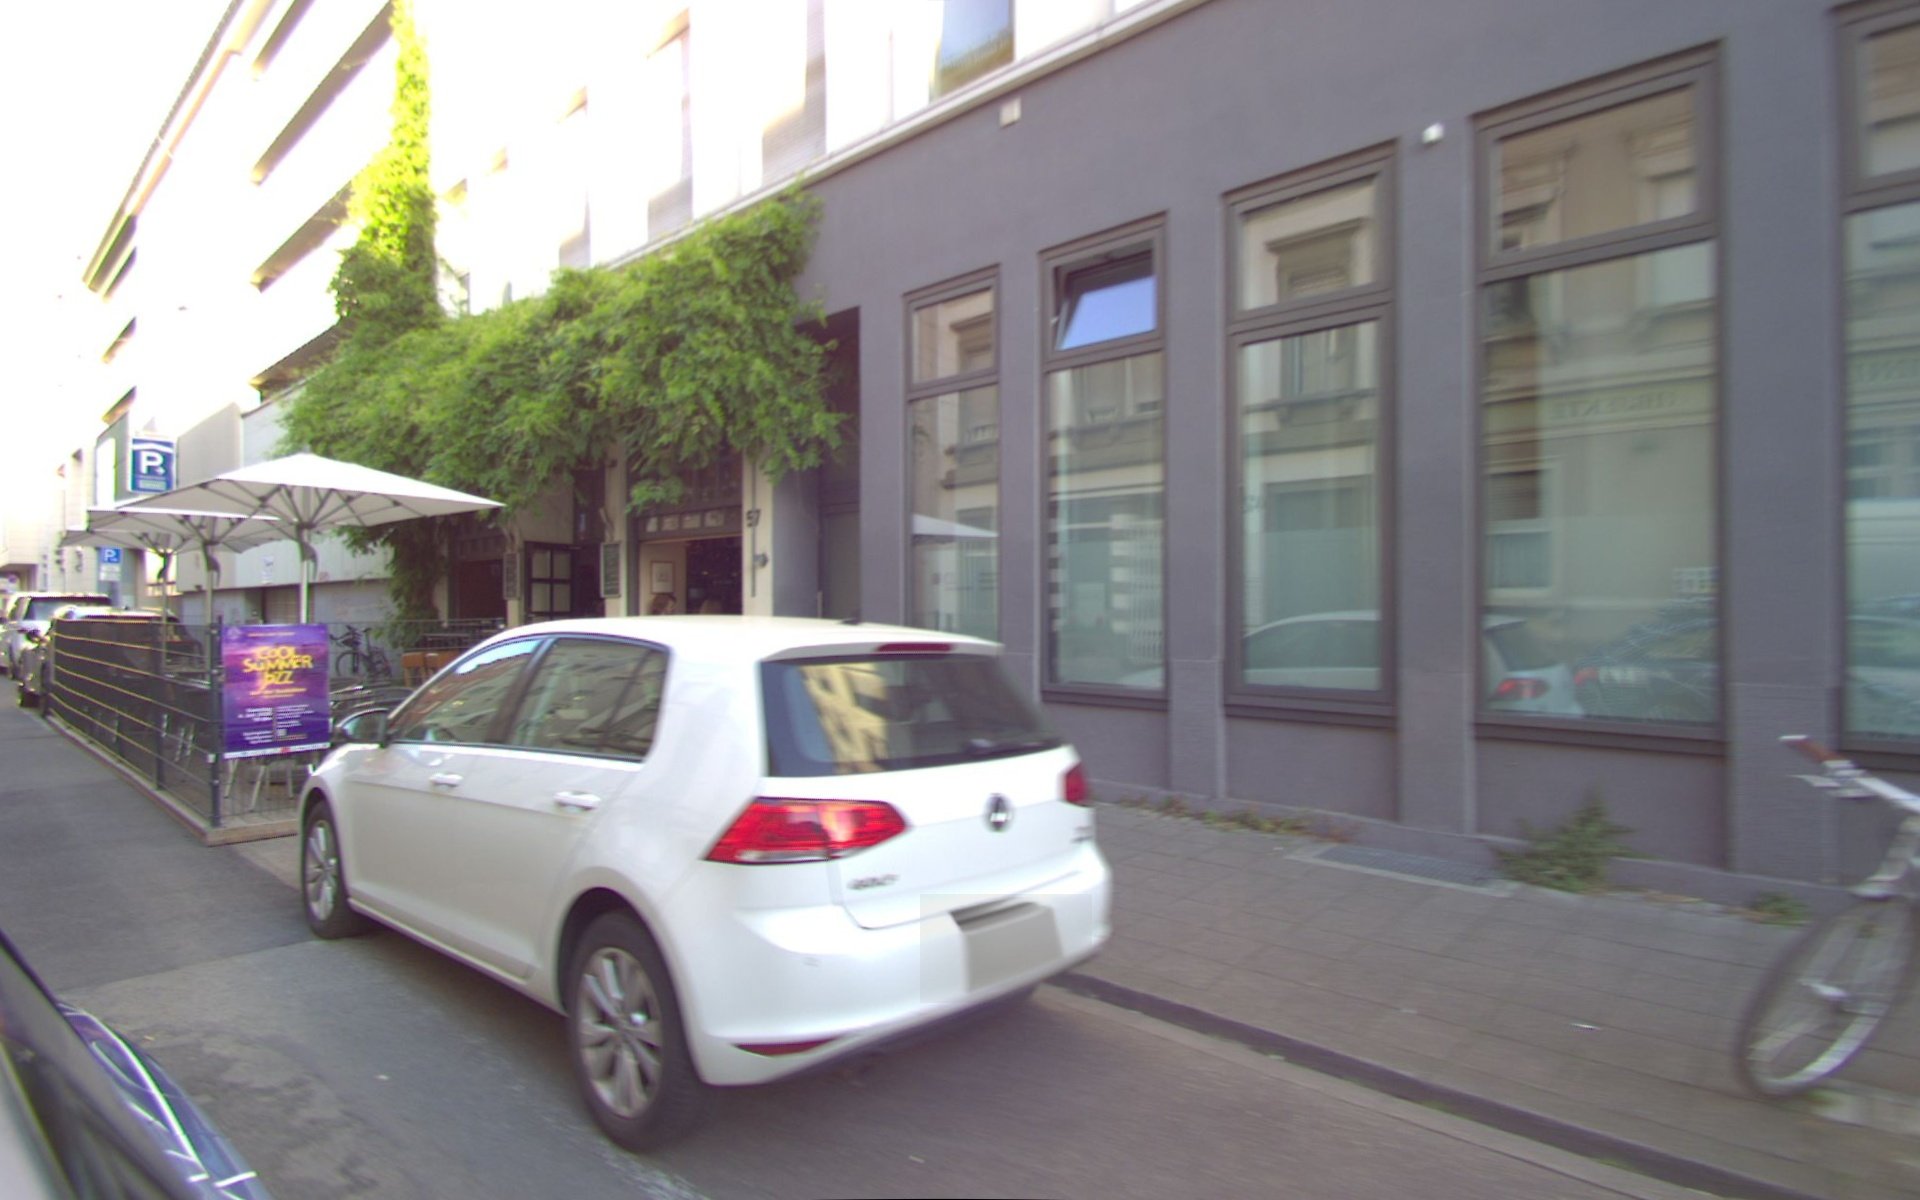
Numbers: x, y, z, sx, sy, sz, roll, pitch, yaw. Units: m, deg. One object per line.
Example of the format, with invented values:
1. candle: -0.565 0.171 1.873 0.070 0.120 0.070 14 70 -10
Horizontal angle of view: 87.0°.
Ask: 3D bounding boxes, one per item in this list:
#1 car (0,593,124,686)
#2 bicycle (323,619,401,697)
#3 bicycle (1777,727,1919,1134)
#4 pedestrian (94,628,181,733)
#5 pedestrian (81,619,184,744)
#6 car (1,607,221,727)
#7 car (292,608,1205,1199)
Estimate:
1. car: -21.396 0.892 23.751 4.848 1.955 1.972 -1 -2 41
2. bicycle: -9.662 0.898 16.322 1.794 1.169 0.636 -1 0 44
3. bicycle: 2.934 0.834 2.284 1.644 0.912 0.589 -1 -1 44
4. pedestrian: -9.732 0.931 11.996 0.544 1.174 0.743 0 -1 -15
5. pedestrian: -9.150 0.862 11.188 0.915 1.297 0.772 -1 -1 43
6. car: -13.214 0.949 15.639 4.769 1.580 1.861 -1 -3 41
7. car: -1.165 0.751 4.054 3.882 1.424 1.640 0 0 43
